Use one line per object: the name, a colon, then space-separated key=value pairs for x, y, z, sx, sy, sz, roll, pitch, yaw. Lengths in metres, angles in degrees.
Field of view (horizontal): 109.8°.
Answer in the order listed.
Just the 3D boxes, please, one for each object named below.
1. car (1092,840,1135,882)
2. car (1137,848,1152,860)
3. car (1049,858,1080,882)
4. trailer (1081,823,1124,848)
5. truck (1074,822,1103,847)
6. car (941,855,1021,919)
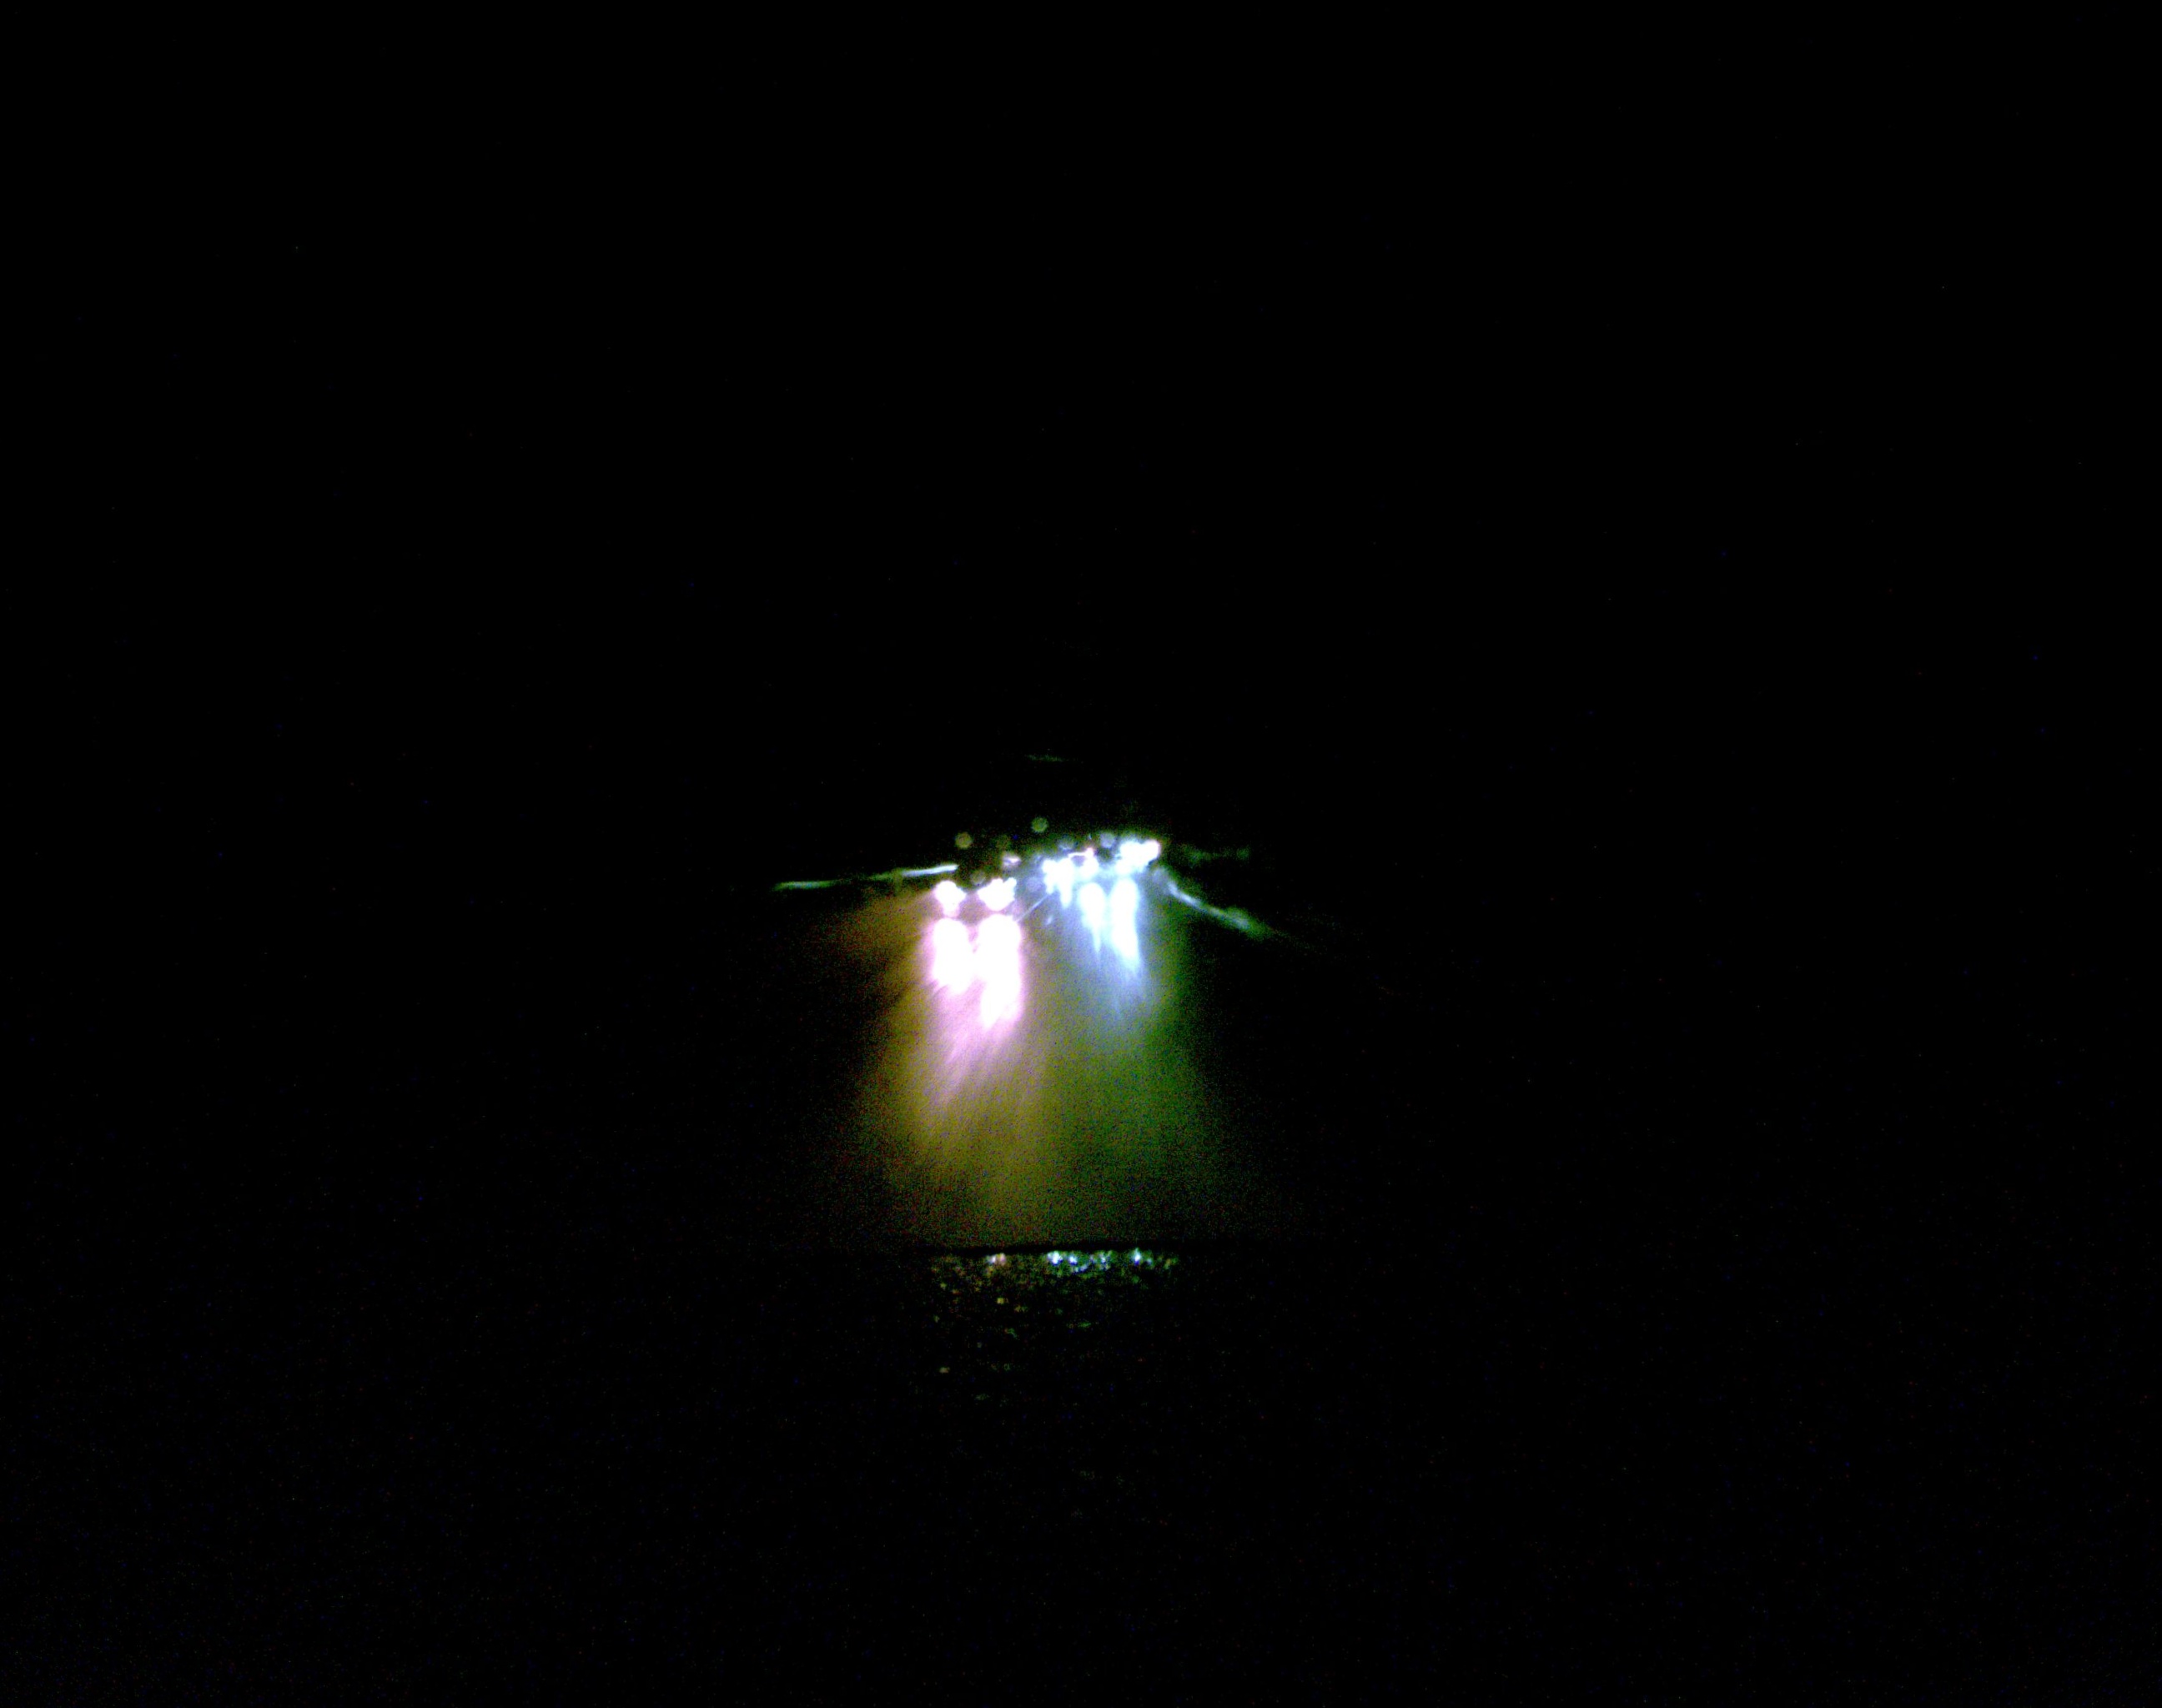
car: x=1.817 y=0.395 z=41.561 sx=1.998 sy=2.001 sz=4.002 roll=-5 pitch=-1 yaw=5
car: x=10.647 y=-0.002 z=126.576 sx=1.997 sy=1.802 sz=4.003 roll=-7 pitch=-1 yaw=9
car: x=-1.236 y=1.198 z=58.344 sx=1.847 sy=1.614 sz=3.680 roll=-6 pitch=-1 yaw=5
trailer: x=3.974 y=-3.335 z=135.875 sx=2.743 sy=3.954 sz=13.837 roll=-7 pitch=-1 yaw=21
truck: x=1.347 y=-3.287 z=129.130 sx=2.779 sy=3.945 sz=5.205 roll=-7 pitch=-1 yaw=21
car: x=-2.857 y=0.893 z=22.619 sx=1.805 sy=1.608 sz=4.256 roll=-3 pitch=1 yaw=-1
